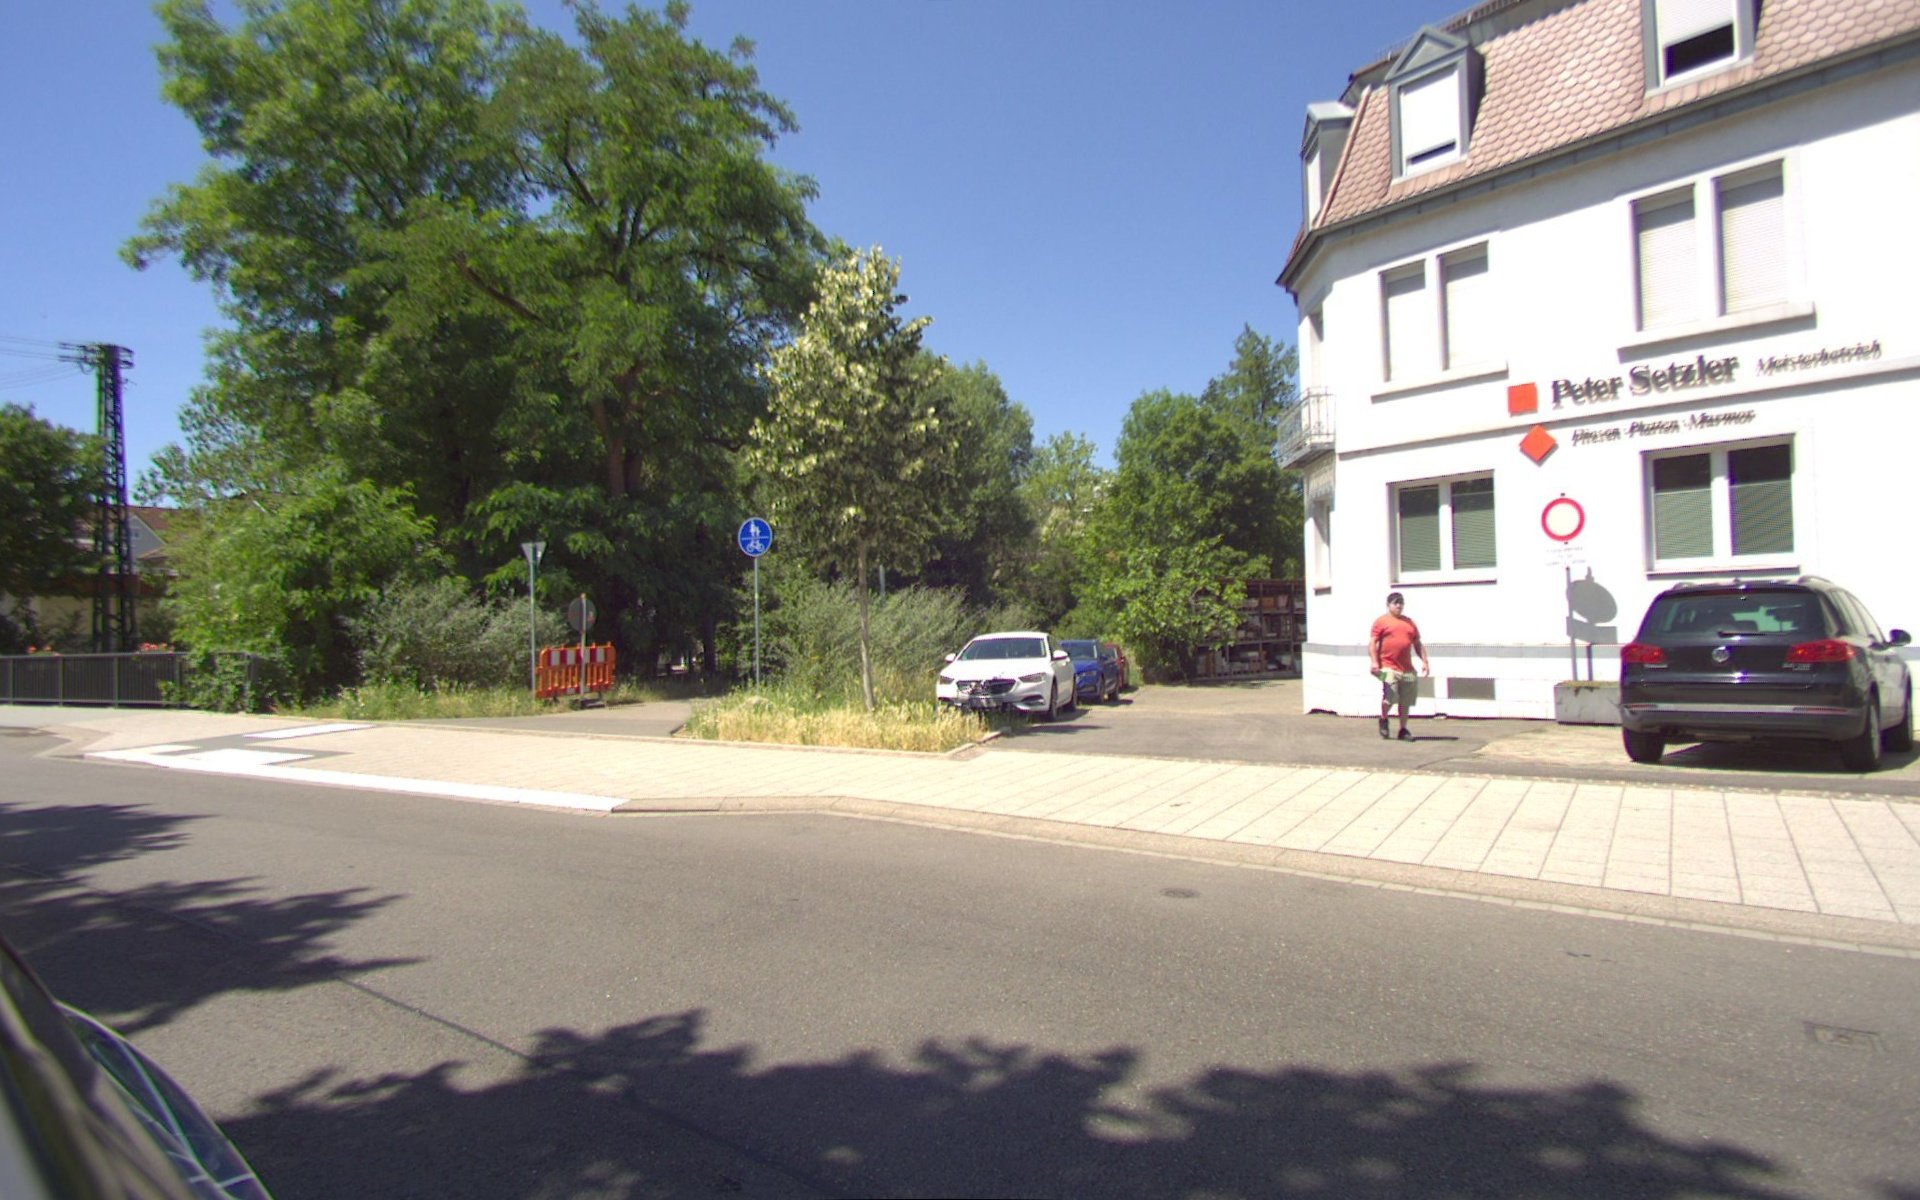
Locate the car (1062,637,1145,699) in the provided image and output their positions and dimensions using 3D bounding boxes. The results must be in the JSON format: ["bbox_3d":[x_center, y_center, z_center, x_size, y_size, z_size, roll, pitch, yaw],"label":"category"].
[{"bbox_3d":[4.186,1.898,29.043,1.981,1.554,3.982,-1,-1,14],"label":"car"}]

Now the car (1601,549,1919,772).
[{"bbox_3d":[7.912,0.480,9.759,4.131,1.675,1.972,0,-2,-44],"label":"car"}]

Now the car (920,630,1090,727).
[{"bbox_3d":[0.922,1.207,16.948,1.981,1.367,4.687,-1,-2,14],"label":"car"}]

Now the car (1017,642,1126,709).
[{"bbox_3d":[2.637,1.699,23.184,1.981,1.355,3.982,0,-3,14],"label":"car"}]

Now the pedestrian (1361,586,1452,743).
[{"bbox_3d":[5.190,0.742,11.802,0.729,1.768,0.736,0,-2,5],"label":"pedestrian"}]
